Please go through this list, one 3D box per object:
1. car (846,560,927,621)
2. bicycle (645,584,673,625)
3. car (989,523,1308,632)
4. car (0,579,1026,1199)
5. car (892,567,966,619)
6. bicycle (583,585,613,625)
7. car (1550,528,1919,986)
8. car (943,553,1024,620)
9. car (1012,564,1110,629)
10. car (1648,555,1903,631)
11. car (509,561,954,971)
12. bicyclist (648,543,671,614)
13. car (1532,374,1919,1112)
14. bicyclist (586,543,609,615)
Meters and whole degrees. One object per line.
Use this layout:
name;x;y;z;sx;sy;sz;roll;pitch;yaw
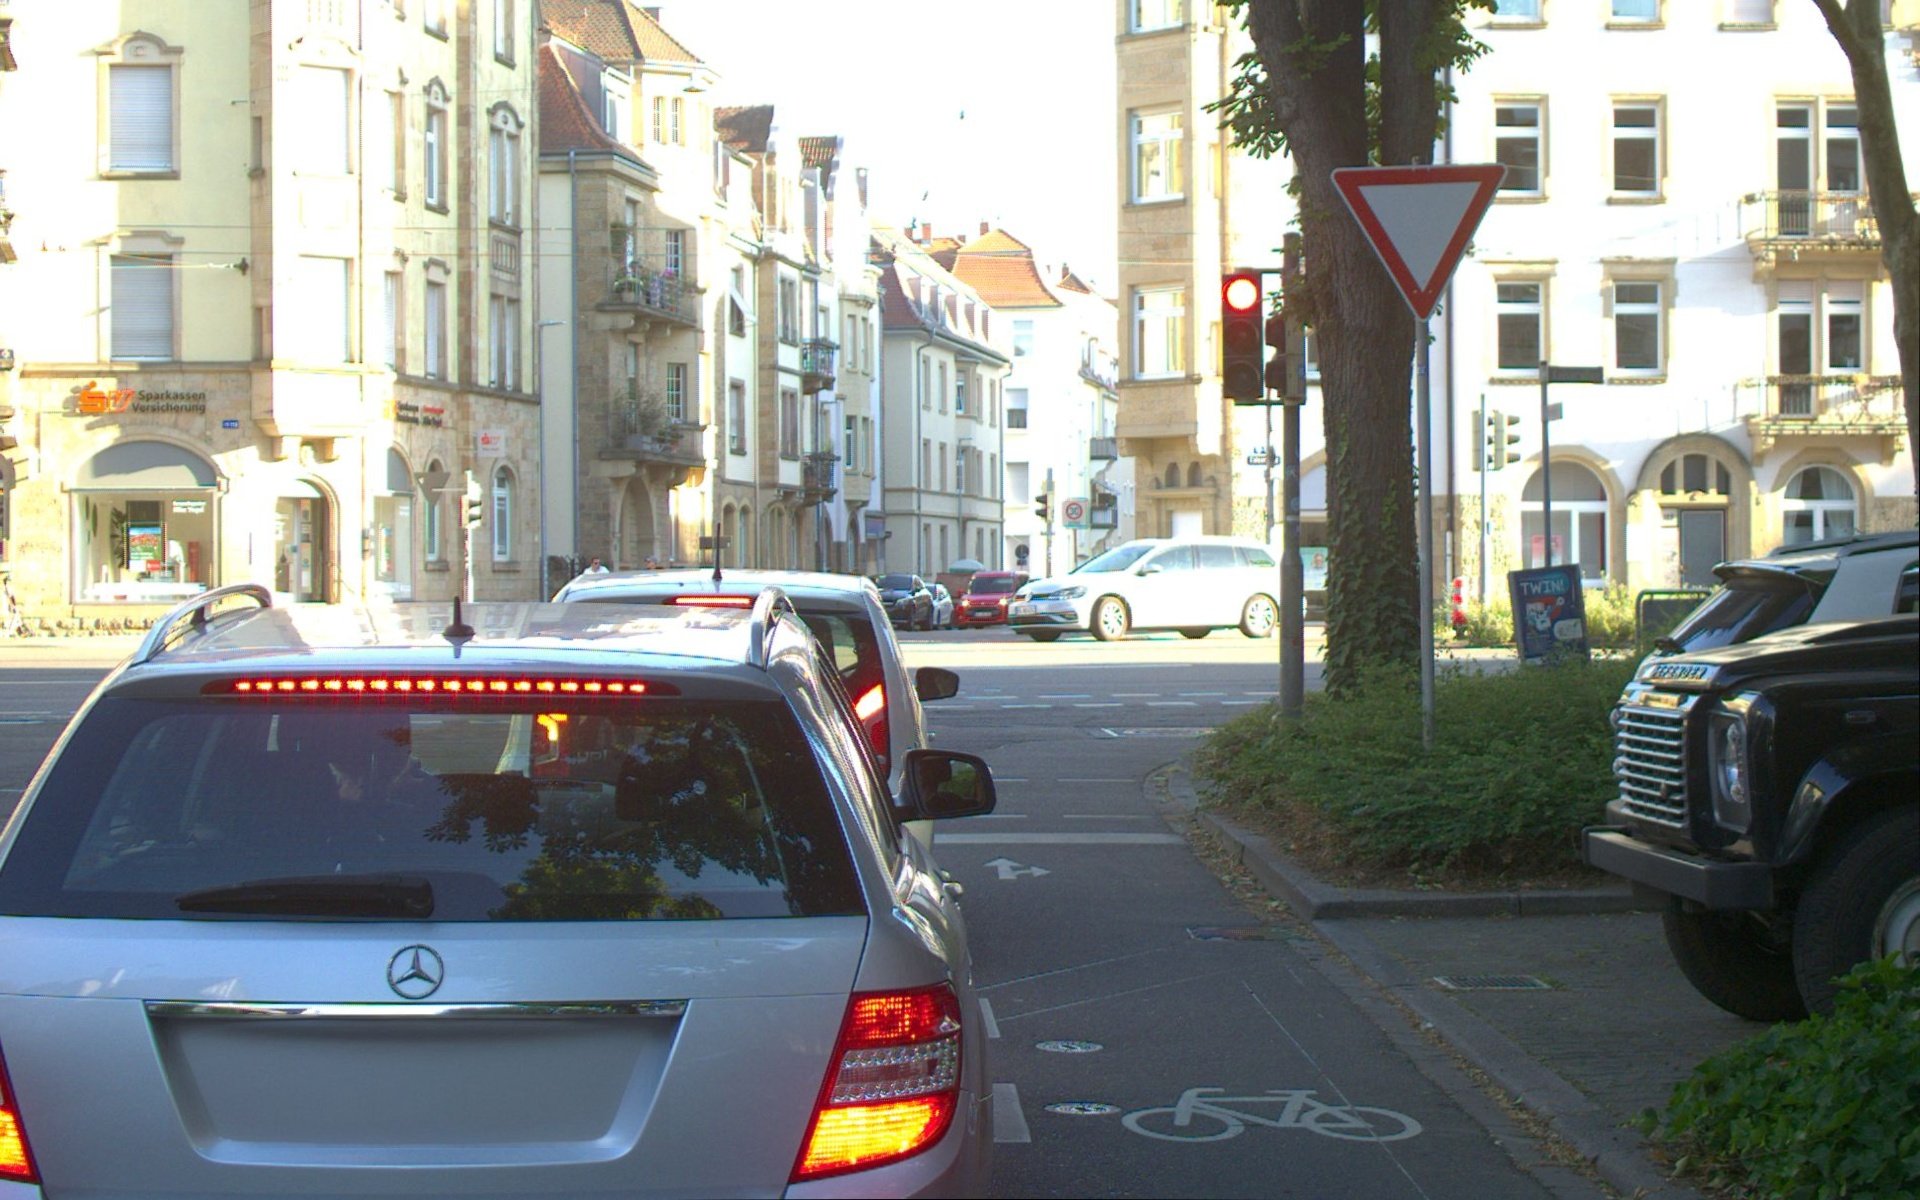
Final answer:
car;-2.178;-0.275;102.437;1.651;1.777;3.861;0;0;11
bicycle;-6.422;0.091;73.443;0.568;0.832;1.566;0;1;-4
car;2.712;-0.351;49.243;4.285;1.457;1.787;-1;2;-31
car;-0.861;0.705;6.469;1.690;1.424;3.493;1;1;-3
car;-0.961;-0.220;108.939;1.651;1.598;3.861;0;0;11
bicycle;-7.743;0.109;73.560;0.568;0.832;1.566;0;1;-4
car;4.202;0.506;13.088;3.480;1.580;1.711;-2;1;-6
car;0.734;-0.420;103.252;1.938;1.952;4.149;0;1;8
car;2.553;-0.099;85.919;1.722;1.473;3.998;-2;1;12
car;11.823;-0.109;49.960;3.364;1.065;1.380;0;1;-1
car;-0.858;0.556;13.705;1.533;1.386;3.600;0;1;-2
bicyclist;-6.426;-0.456;73.518;0.466;1.516;0.694;0;1;-4
car;4.146;0.296;10.184;4.490;1.949;1.793;-2;1;-3
bicyclist;-7.742;-0.451;73.449;0.466;1.509;0.655;0;1;-4
